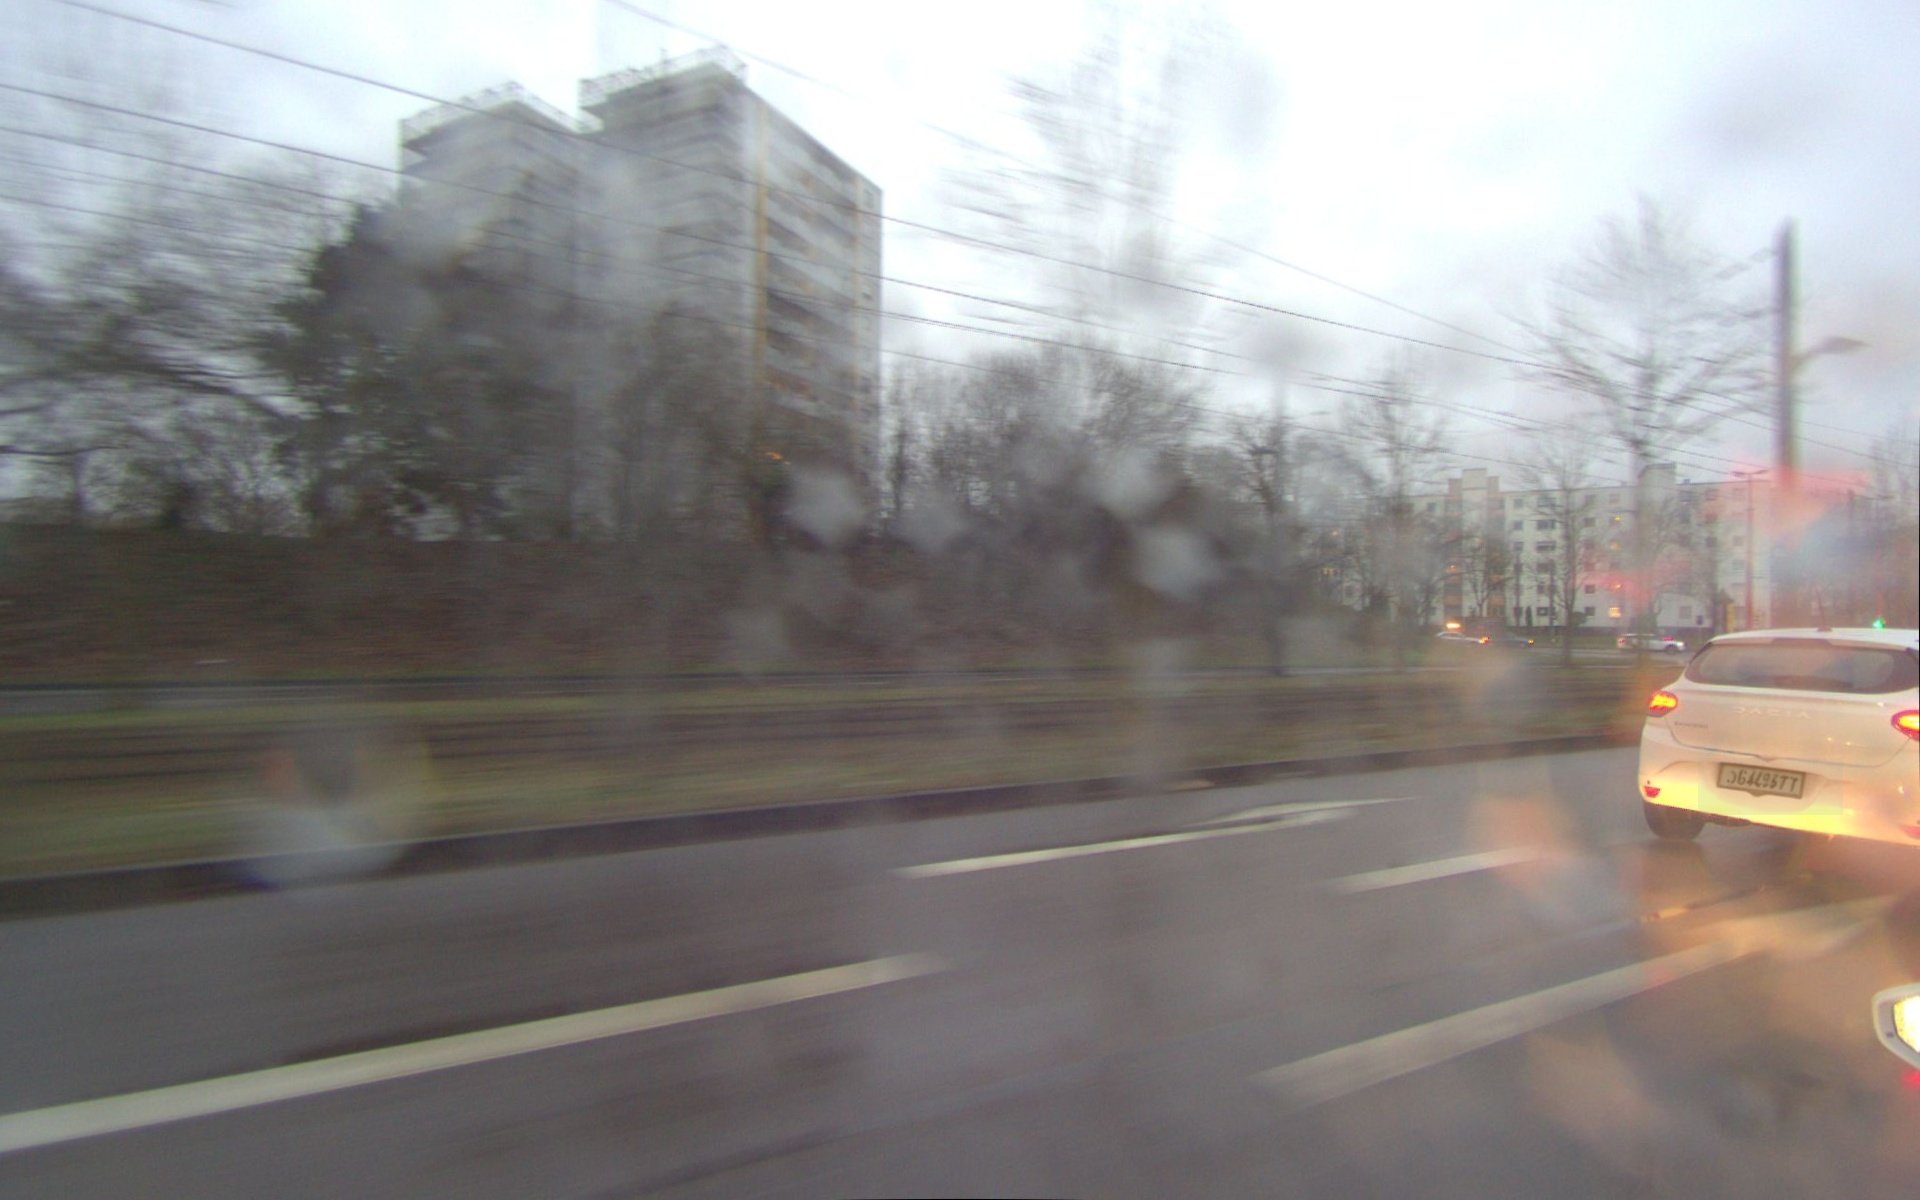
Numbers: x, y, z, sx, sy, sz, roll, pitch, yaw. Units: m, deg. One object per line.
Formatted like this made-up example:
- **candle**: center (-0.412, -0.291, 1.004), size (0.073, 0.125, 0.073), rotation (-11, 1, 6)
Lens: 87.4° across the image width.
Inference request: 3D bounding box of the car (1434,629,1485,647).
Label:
- **car**: center (44.663, 3.365, 89.814), size (3.931, 1.565, 1.708), rotation (0, -2, 33)

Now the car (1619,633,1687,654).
- **car**: center (55.032, 3.417, 79.846), size (4.365, 1.565, 1.847), rotation (0, -2, 33)

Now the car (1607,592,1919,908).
- **car**: center (6.482, 0.848, 6.978), size (4.099, 1.670, 1.705), rotation (2, -1, -31)
